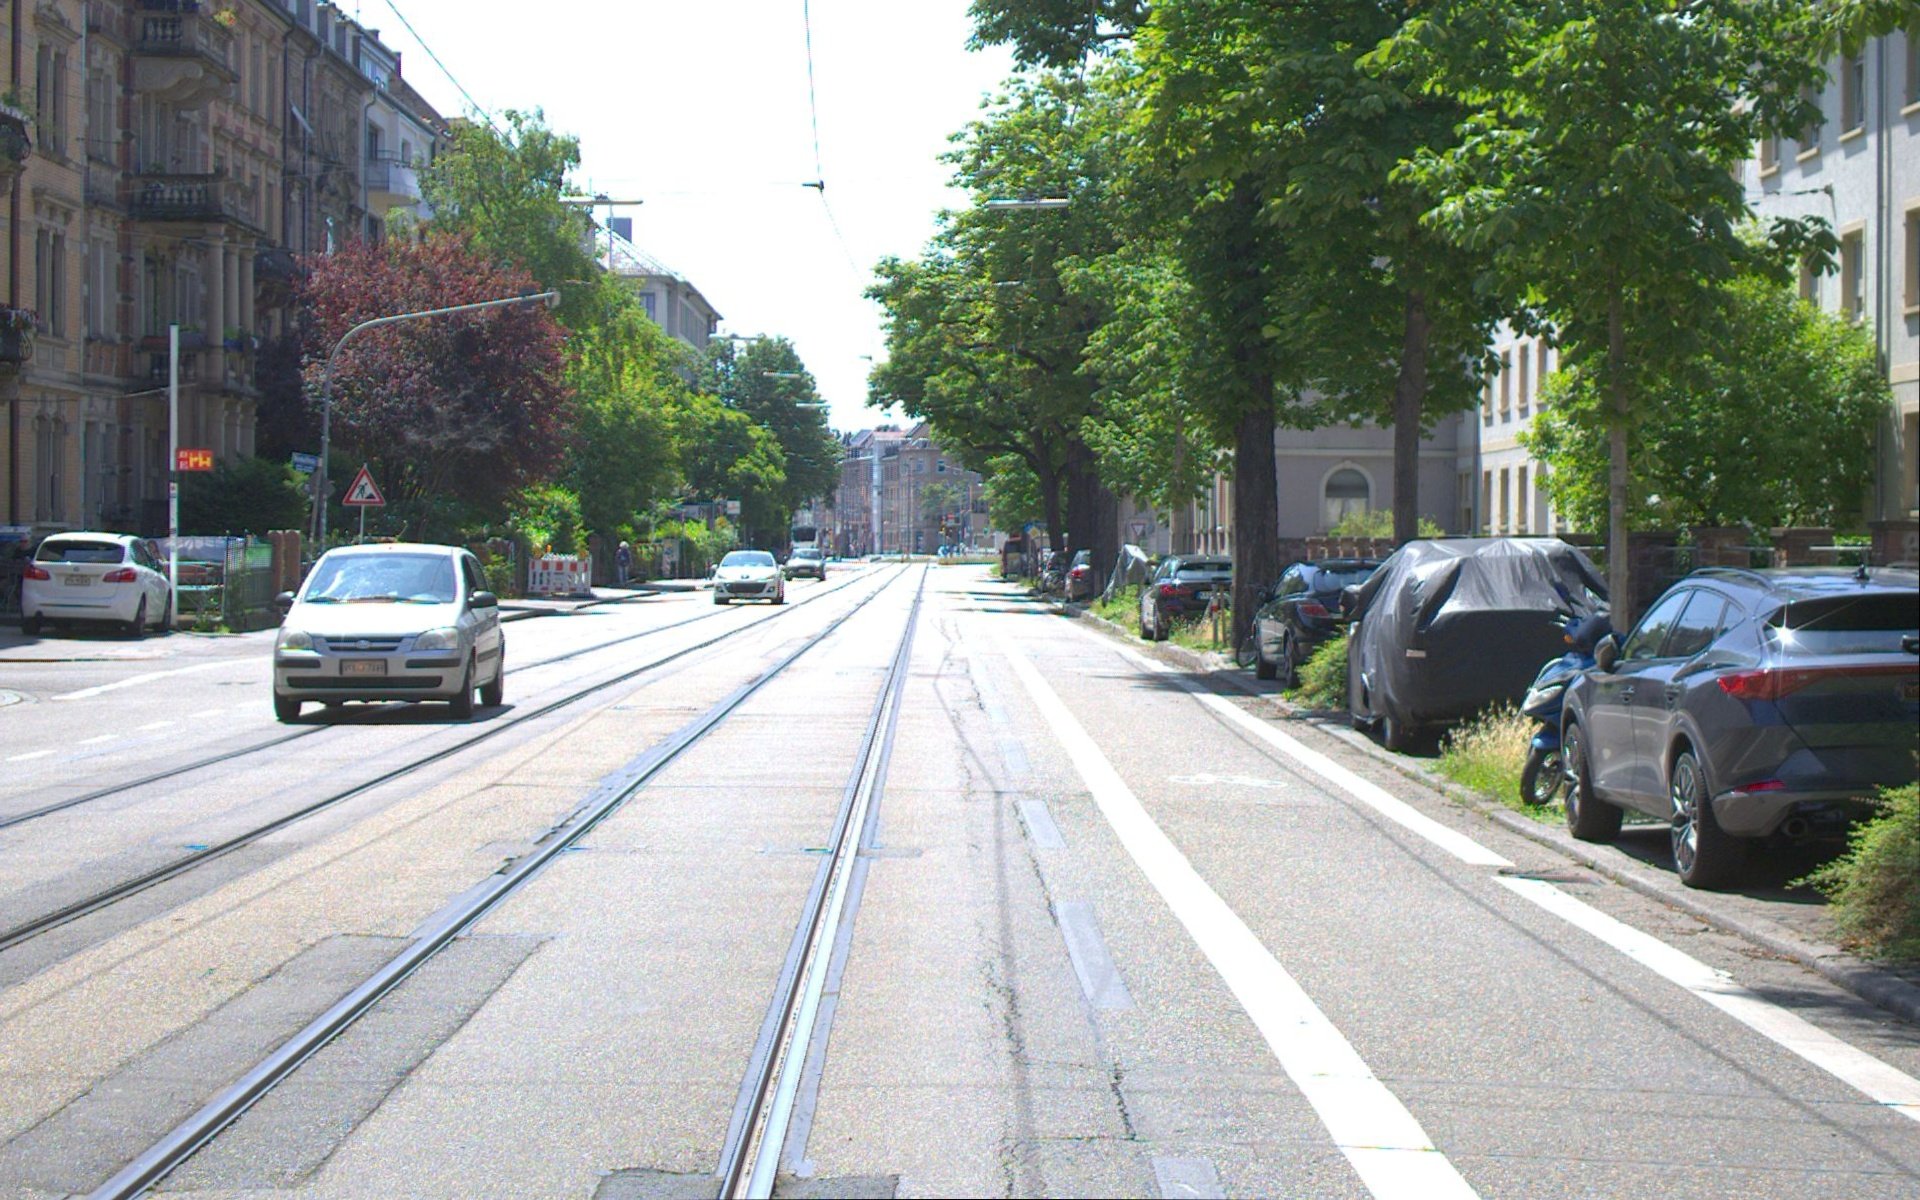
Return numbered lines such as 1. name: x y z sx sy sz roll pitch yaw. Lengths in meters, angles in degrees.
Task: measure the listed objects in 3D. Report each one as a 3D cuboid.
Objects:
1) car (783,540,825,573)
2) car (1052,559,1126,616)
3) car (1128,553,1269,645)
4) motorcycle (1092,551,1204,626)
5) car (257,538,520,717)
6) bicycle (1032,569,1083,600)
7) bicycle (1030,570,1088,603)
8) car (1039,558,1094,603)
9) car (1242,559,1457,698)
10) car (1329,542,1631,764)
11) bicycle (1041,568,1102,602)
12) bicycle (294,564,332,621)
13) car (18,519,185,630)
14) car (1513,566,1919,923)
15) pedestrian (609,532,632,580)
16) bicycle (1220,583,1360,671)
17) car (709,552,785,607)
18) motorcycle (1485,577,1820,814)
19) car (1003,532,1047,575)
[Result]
1. car: -6.954 -1.934 153.368 1.686 1.449 3.748 1 1 -1
2. car: 3.535 -0.364 94.921 1.774 1.496 4.306 0 1 -1
3. car: 3.964 -0.044 57.803 1.769 1.422 4.863 1 1 -3
4. motorcycle: 4.004 -0.256 73.379 2.319 1.535 0.867 2 1 43
5. car: -4.935 0.186 30.143 1.684 1.444 4.000 1 1 -1
6. bicycle: 3.487 -0.540 123.163 1.816 1.109 0.493 0 -1 -1
7. bicycle: 3.407 -0.464 118.500 2.010 1.109 0.640 0 -1 2
8. car: 3.503 -0.642 113.703 1.621 1.443 3.810 -2 0 -1
9. car: 4.296 0.275 38.519 1.694 1.414 4.358 1 1 -3
10. car: 4.213 0.362 28.573 1.947 1.645 4.879 1 1 3
11. bicycle: 3.535 -0.481 108.893 1.890 1.048 0.538 1 0 7
12. bicycle: -11.753 -0.147 62.471 0.454 1.000 1.807 1 1 -4
13. car: -13.280 -0.413 53.407 1.865 1.594 4.103 2 1 -5
14. car: 4.170 0.637 17.715 1.732 1.546 4.454 1 1 -2
15. pedestrian: -11.616 -1.497 117.537 0.750 1.623 0.833 1 0 -6
16. bicycle: 4.141 0.338 43.190 1.652 1.074 0.606 1 1 -7
17. car: -5.612 -0.562 90.957 1.756 1.419 4.000 0 1 0
18. motorcycle: 4.332 0.595 21.563 1.912 1.428 0.672 1 1 -9
19. car: 3.155 -2.300 167.807 1.993 2.028 4.697 1 1 0
